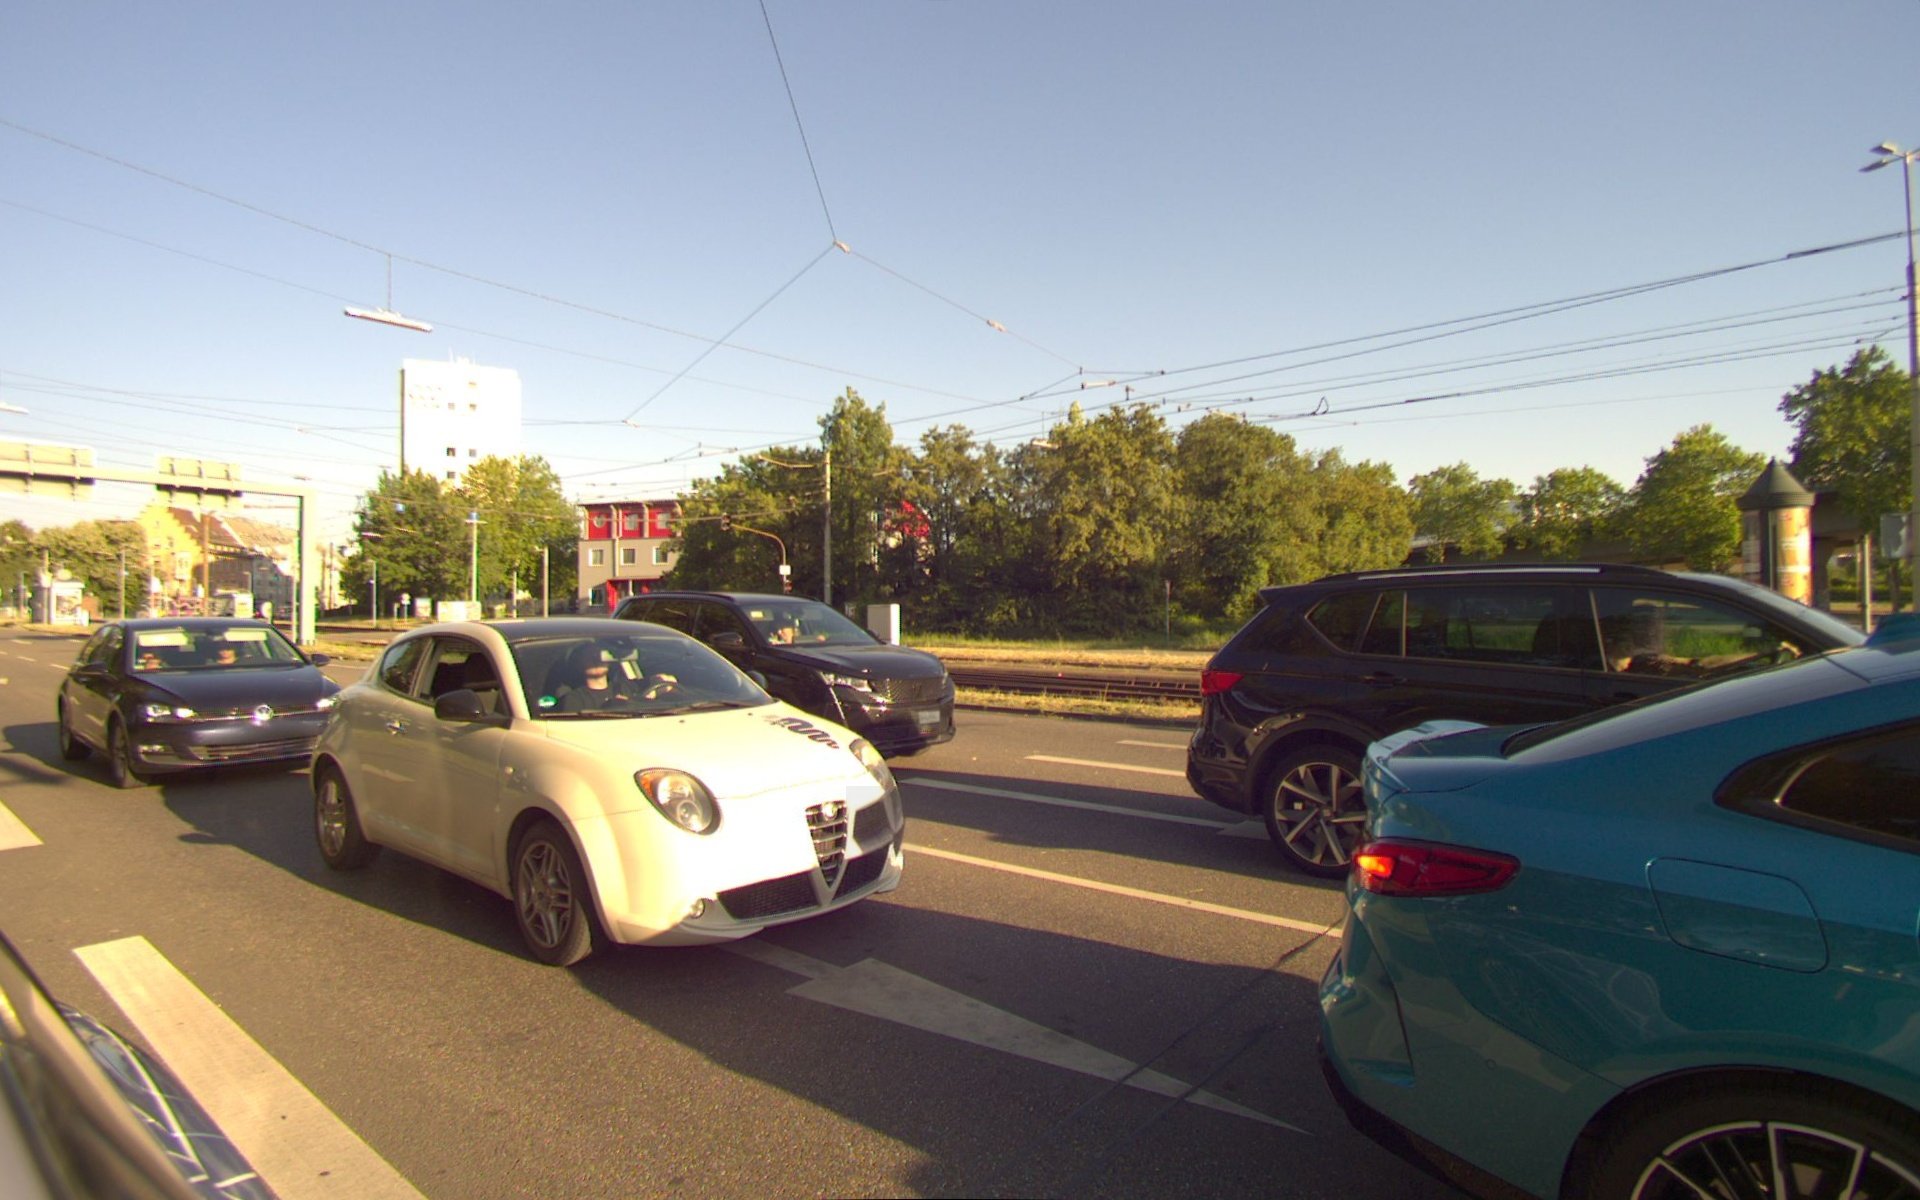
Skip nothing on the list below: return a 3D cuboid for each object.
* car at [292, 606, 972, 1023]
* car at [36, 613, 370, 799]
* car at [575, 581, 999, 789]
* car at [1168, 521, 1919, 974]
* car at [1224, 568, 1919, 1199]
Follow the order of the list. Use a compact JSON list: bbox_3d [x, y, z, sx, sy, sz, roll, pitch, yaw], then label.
[{"bbox_3d":[-1.966,0.774,5.417,3.921,1.441,1.644,-1,-1,40],"label":"car"},{"bbox_3d":[-7.449,0.861,9.835,3.921,1.441,1.759,-1,-1,40],"label":"car"},{"bbox_3d":[-1.956,0.718,10.365,4.601,1.661,1.894,-1,-1,43],"label":"car"},{"bbox_3d":[3.559,0.567,5.052,4.598,1.694,1.896,-1,-1,40],"label":"car"},{"bbox_3d":[2.879,0.655,1.479,4.507,1.428,1.767,-1,-1,39],"label":"car"}]
